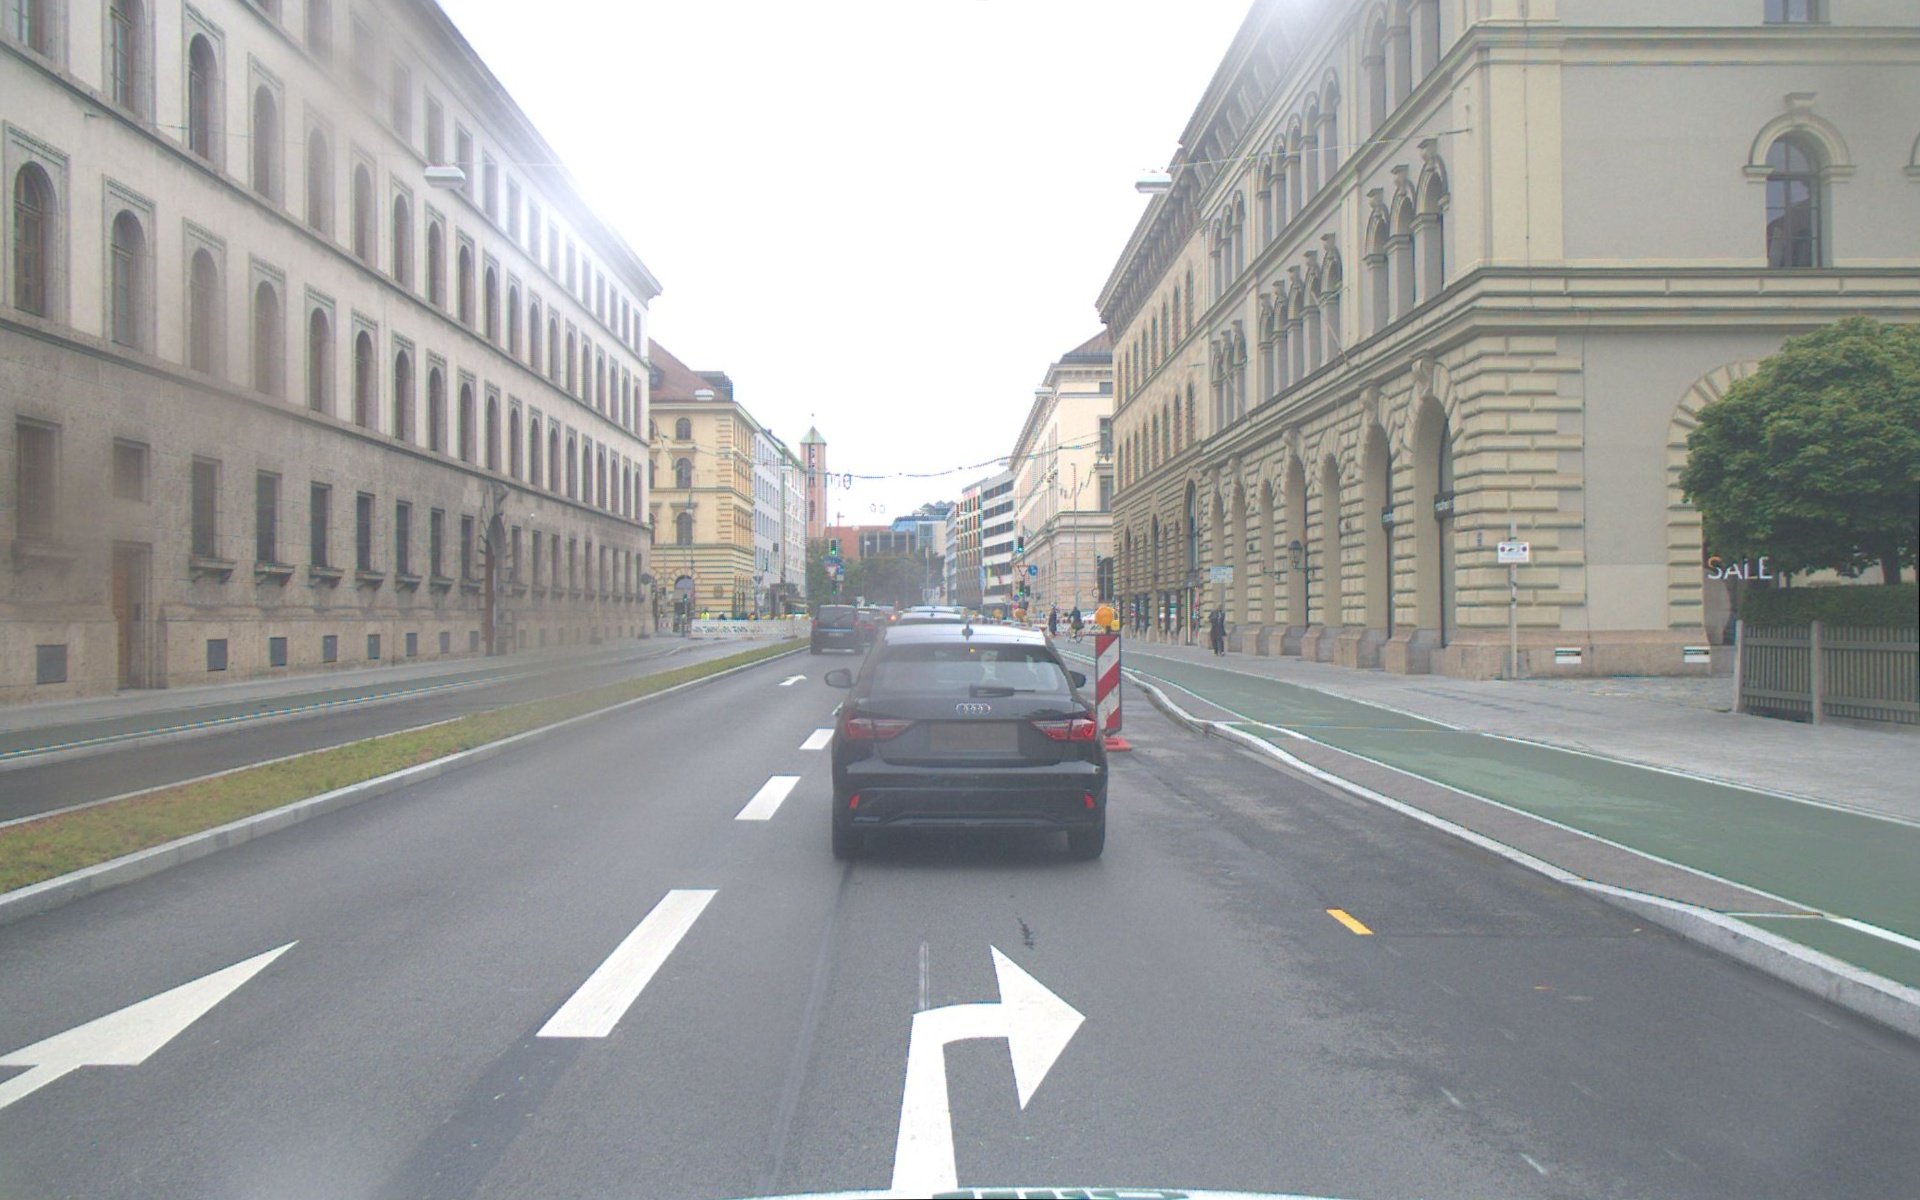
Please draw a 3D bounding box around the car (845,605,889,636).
[{"bbox_3d":[-4.517,0.978,80.578,1.953,1.469,3.999,0,0,-1],"label":"car"}]

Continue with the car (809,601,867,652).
[{"bbox_3d":[-4.088,0.866,55.802,1.729,1.644,4.029,1,0,-1],"label":"car"}]

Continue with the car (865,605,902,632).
[{"bbox_3d":[-4.276,1.021,92.802,1.953,1.469,3.999,0,0,-1],"label":"car"}]

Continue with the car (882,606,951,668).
[{"bbox_3d":[-1.123,0.923,42.992,1.695,1.486,3.999,1,0,-1],"label":"car"}]

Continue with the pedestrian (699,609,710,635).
[{"bbox_3d":[-18.620,1.604,120.507,0.642,1.836,0.727,0,-1,-2],"label":"pedestrian"}]

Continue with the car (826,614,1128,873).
[{"bbox_3d":[0.061,0.836,11.413,1.695,1.427,3.999,1,0,-1],"label":"car"}]

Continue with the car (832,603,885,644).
[{"bbox_3d":[-4.156,0.953,68.348,1.953,1.656,3.999,0,0,-1],"label":"car"}]

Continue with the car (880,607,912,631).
[{"bbox_3d":[-4.064,1.202,105.449,1.953,1.469,3.999,0,0,-1],"label":"car"}]

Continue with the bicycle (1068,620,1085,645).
[{"bbox_3d":[5.702,1.566,81.027,0.713,1.177,2.172,0,0,2],"label":"bicycle"}]

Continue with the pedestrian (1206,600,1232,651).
[{"bbox_3d":[8.446,0.842,53.931,0.695,1.646,0.754,0,-1,-2],"label":"pedestrian"}]

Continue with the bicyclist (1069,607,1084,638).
[{"bbox_3d":[5.698,1.114,81.135,0.695,1.526,0.754,0,-1,1],"label":"bicyclist"}]

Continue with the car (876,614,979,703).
[{"bbox_3d":[-0.577,0.988,29.471,1.695,1.427,3.999,1,0,-1],"label":"car"}]
